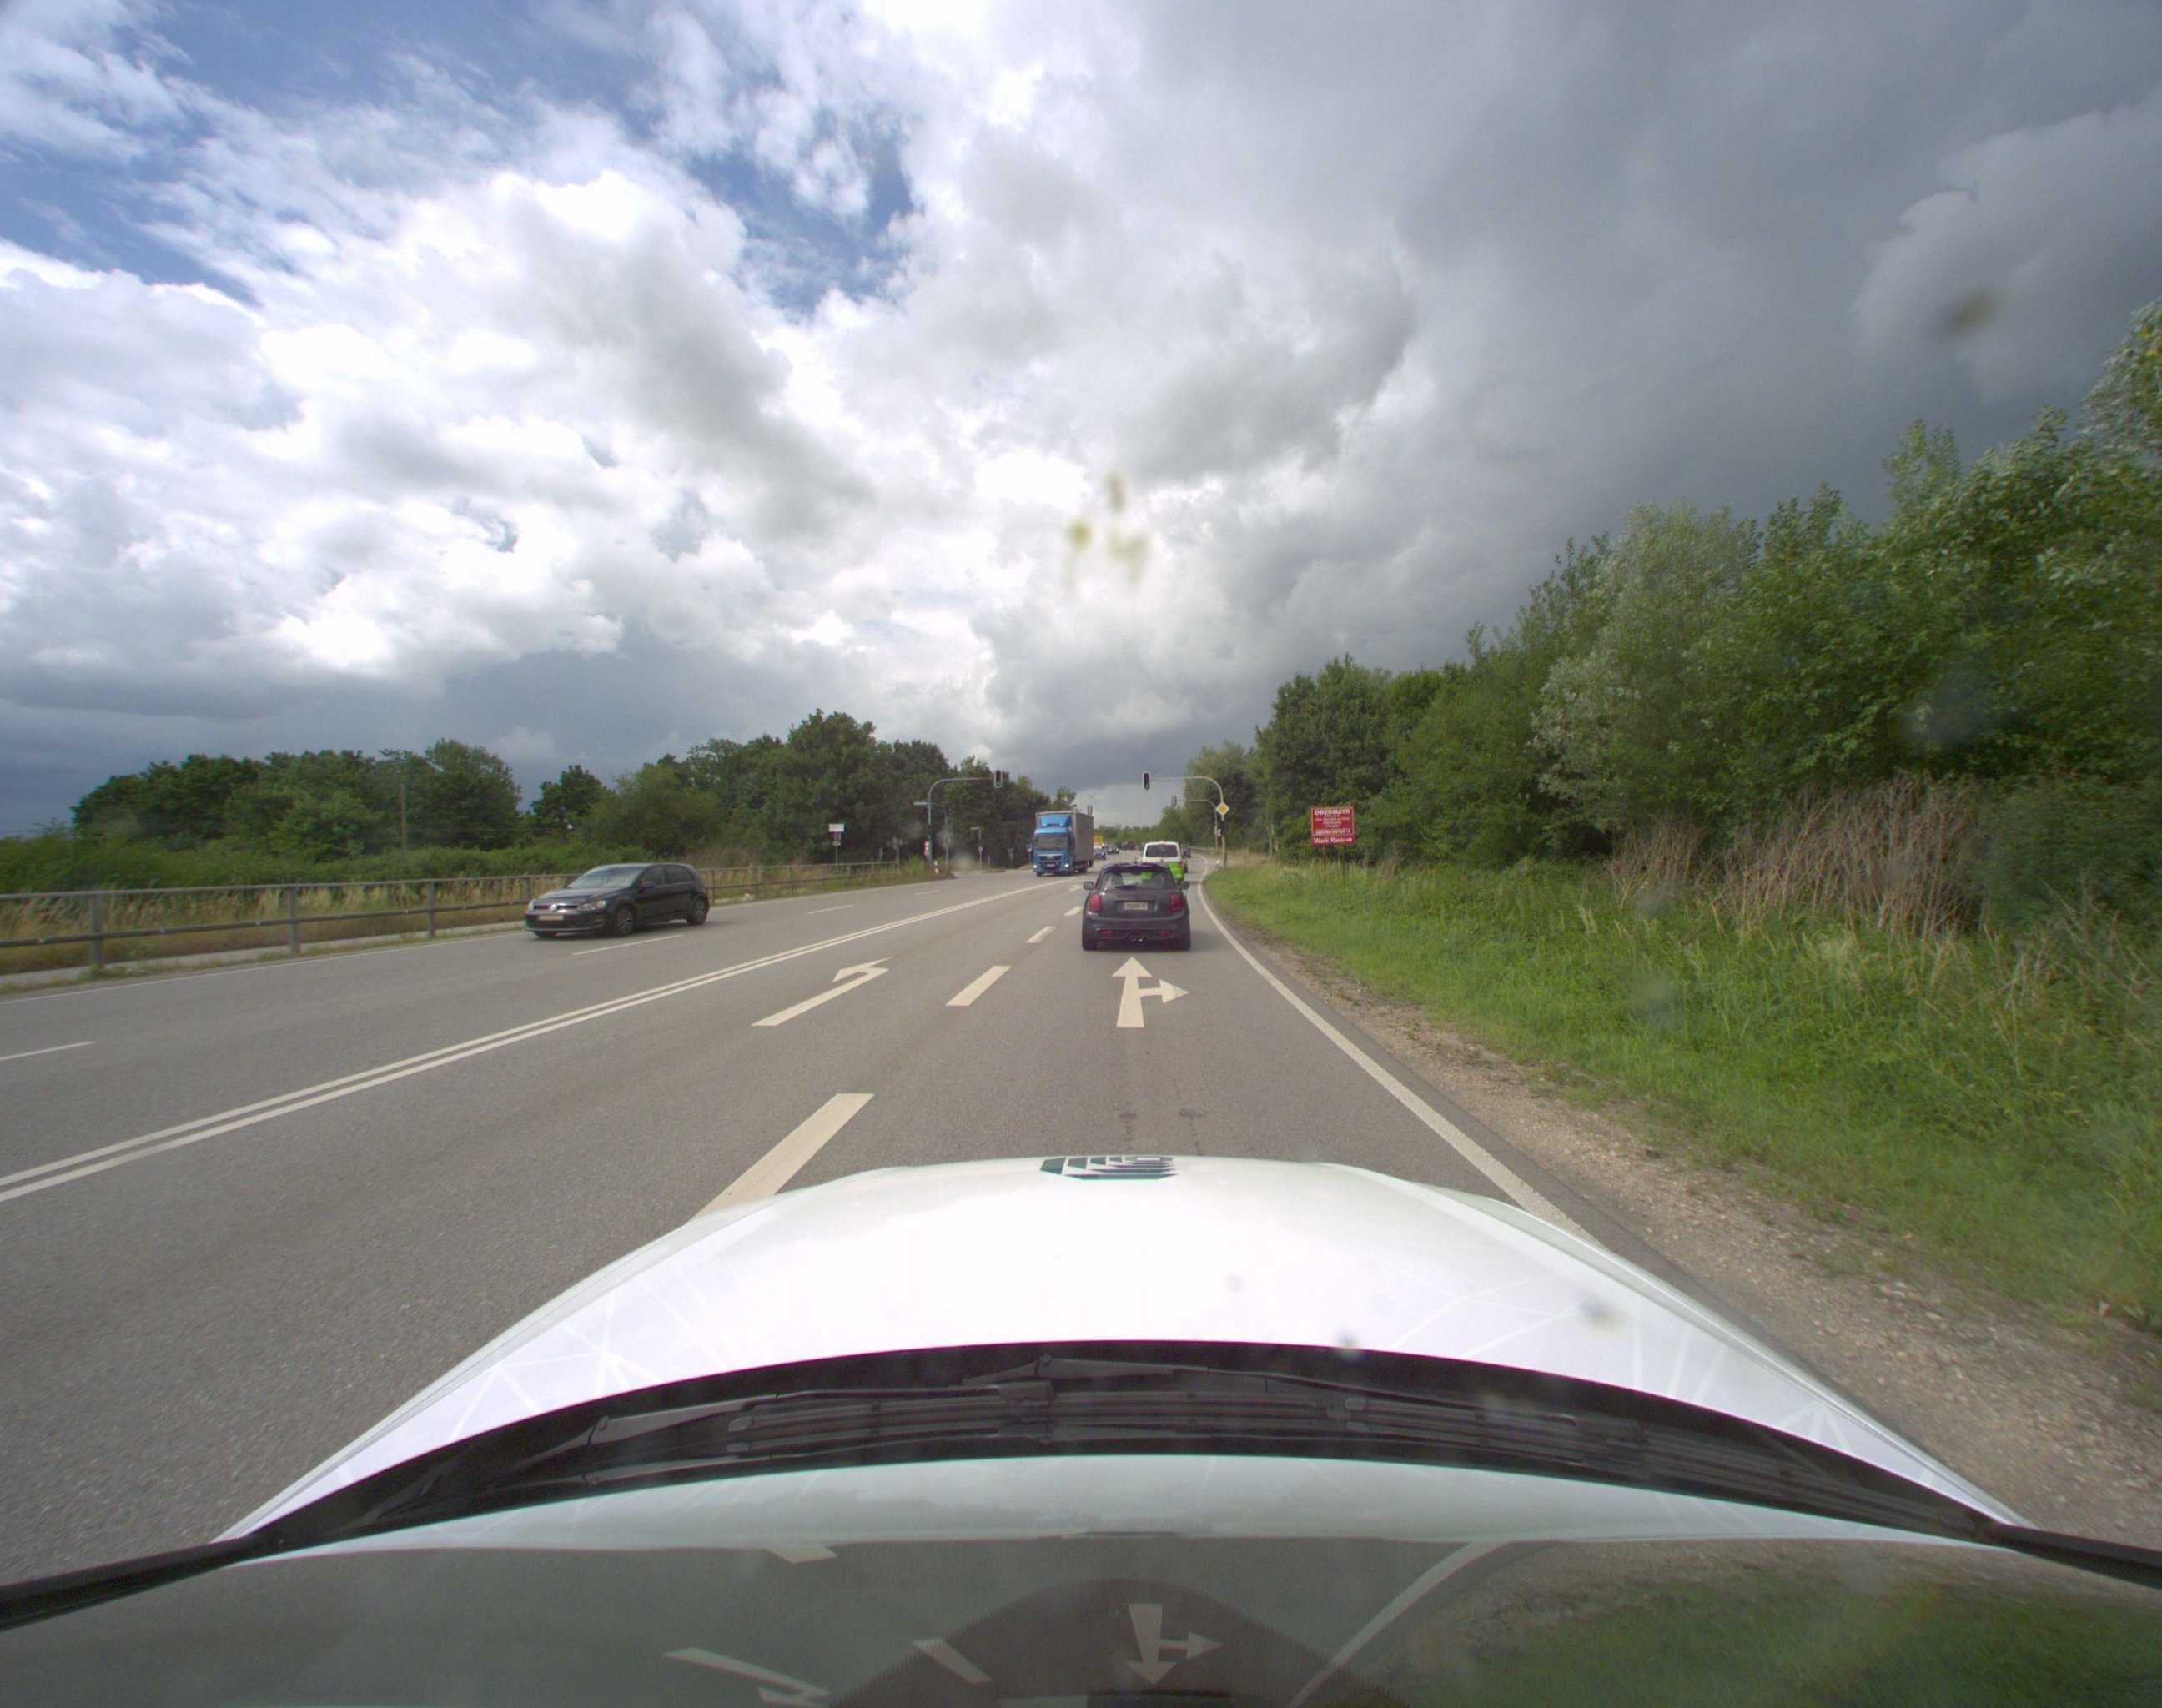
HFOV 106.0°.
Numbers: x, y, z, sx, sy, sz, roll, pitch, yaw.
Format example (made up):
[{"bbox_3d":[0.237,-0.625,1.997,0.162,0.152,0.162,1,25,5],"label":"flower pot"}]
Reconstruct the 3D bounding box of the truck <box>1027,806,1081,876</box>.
[{"bbox_3d":[-1.608,-0.791,50.625,2.524,4.096,4.011,-1,0,10],"label":"truck"}]

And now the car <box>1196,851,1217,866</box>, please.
[{"bbox_3d":[15.556,0.589,100.871,1.978,1.684,3.994,0,-2,16],"label":"car"}]

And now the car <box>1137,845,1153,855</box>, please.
[{"bbox_3d":[11.319,-0.759,144.907,1.991,1.695,4.476,-1,0,-6],"label":"car"}]

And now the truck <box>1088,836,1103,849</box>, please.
[{"bbox_3d":[3.784,-2.922,210.633,2.714,2.898,8.750,0,-2,-6],"label":"truck"}]

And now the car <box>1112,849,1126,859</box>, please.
[{"bbox_3d":[6.411,-0.059,137.063,1.778,1.530,4.914,-4,0,8],"label":"car"}]

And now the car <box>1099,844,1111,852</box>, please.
[{"bbox_3d":[5.754,-1.438,195.020,1.992,1.787,4.473,-1,0,-8],"label":"car"}]

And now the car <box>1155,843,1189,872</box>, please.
[{"bbox_3d":[5.724,0.247,51.538,1.984,1.684,4.006,-2,-1,6],"label":"car"}]

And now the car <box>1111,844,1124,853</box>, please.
[{"bbox_3d":[7.947,-1.194,176.082,1.992,1.695,4.473,-1,0,-8],"label":"car"}]

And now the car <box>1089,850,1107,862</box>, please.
[{"bbox_3d":[2.327,0.219,109.257,1.781,1.573,4.010,-2,0,9],"label":"car"}]

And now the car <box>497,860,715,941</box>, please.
[{"bbox_3d":[-9.637,0.868,16.955,1.937,1.441,4.005,-1,0,4],"label":"car"}]

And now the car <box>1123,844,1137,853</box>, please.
[{"bbox_3d":[9.626,-1.057,159.743,1.991,1.695,4.476,-1,0,-6],"label":"car"}]

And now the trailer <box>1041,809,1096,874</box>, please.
[{"bbox_3d":[-0.743,-0.800,55.591,2.512,4.101,6.753,-1,0,10],"label":"trailer"}]

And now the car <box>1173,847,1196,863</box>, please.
[{"bbox_3d":[11.290,0.141,88.807,1.979,1.684,4.016,0,-2,15],"label":"car"}]

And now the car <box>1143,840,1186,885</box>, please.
[{"bbox_3d":[3.890,0.355,37.812,1.835,1.987,3.848,-1,0,6],"label":"car"}]

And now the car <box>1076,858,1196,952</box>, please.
[{"bbox_3d":[0.971,0.793,14.429,1.837,1.428,3.845,0,0,4],"label":"car"}]

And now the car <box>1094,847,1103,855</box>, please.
[{"bbox_3d":[3.466,-0.523,161.339,1.722,1.504,4.350,-2,0,3],"label":"car"}]
